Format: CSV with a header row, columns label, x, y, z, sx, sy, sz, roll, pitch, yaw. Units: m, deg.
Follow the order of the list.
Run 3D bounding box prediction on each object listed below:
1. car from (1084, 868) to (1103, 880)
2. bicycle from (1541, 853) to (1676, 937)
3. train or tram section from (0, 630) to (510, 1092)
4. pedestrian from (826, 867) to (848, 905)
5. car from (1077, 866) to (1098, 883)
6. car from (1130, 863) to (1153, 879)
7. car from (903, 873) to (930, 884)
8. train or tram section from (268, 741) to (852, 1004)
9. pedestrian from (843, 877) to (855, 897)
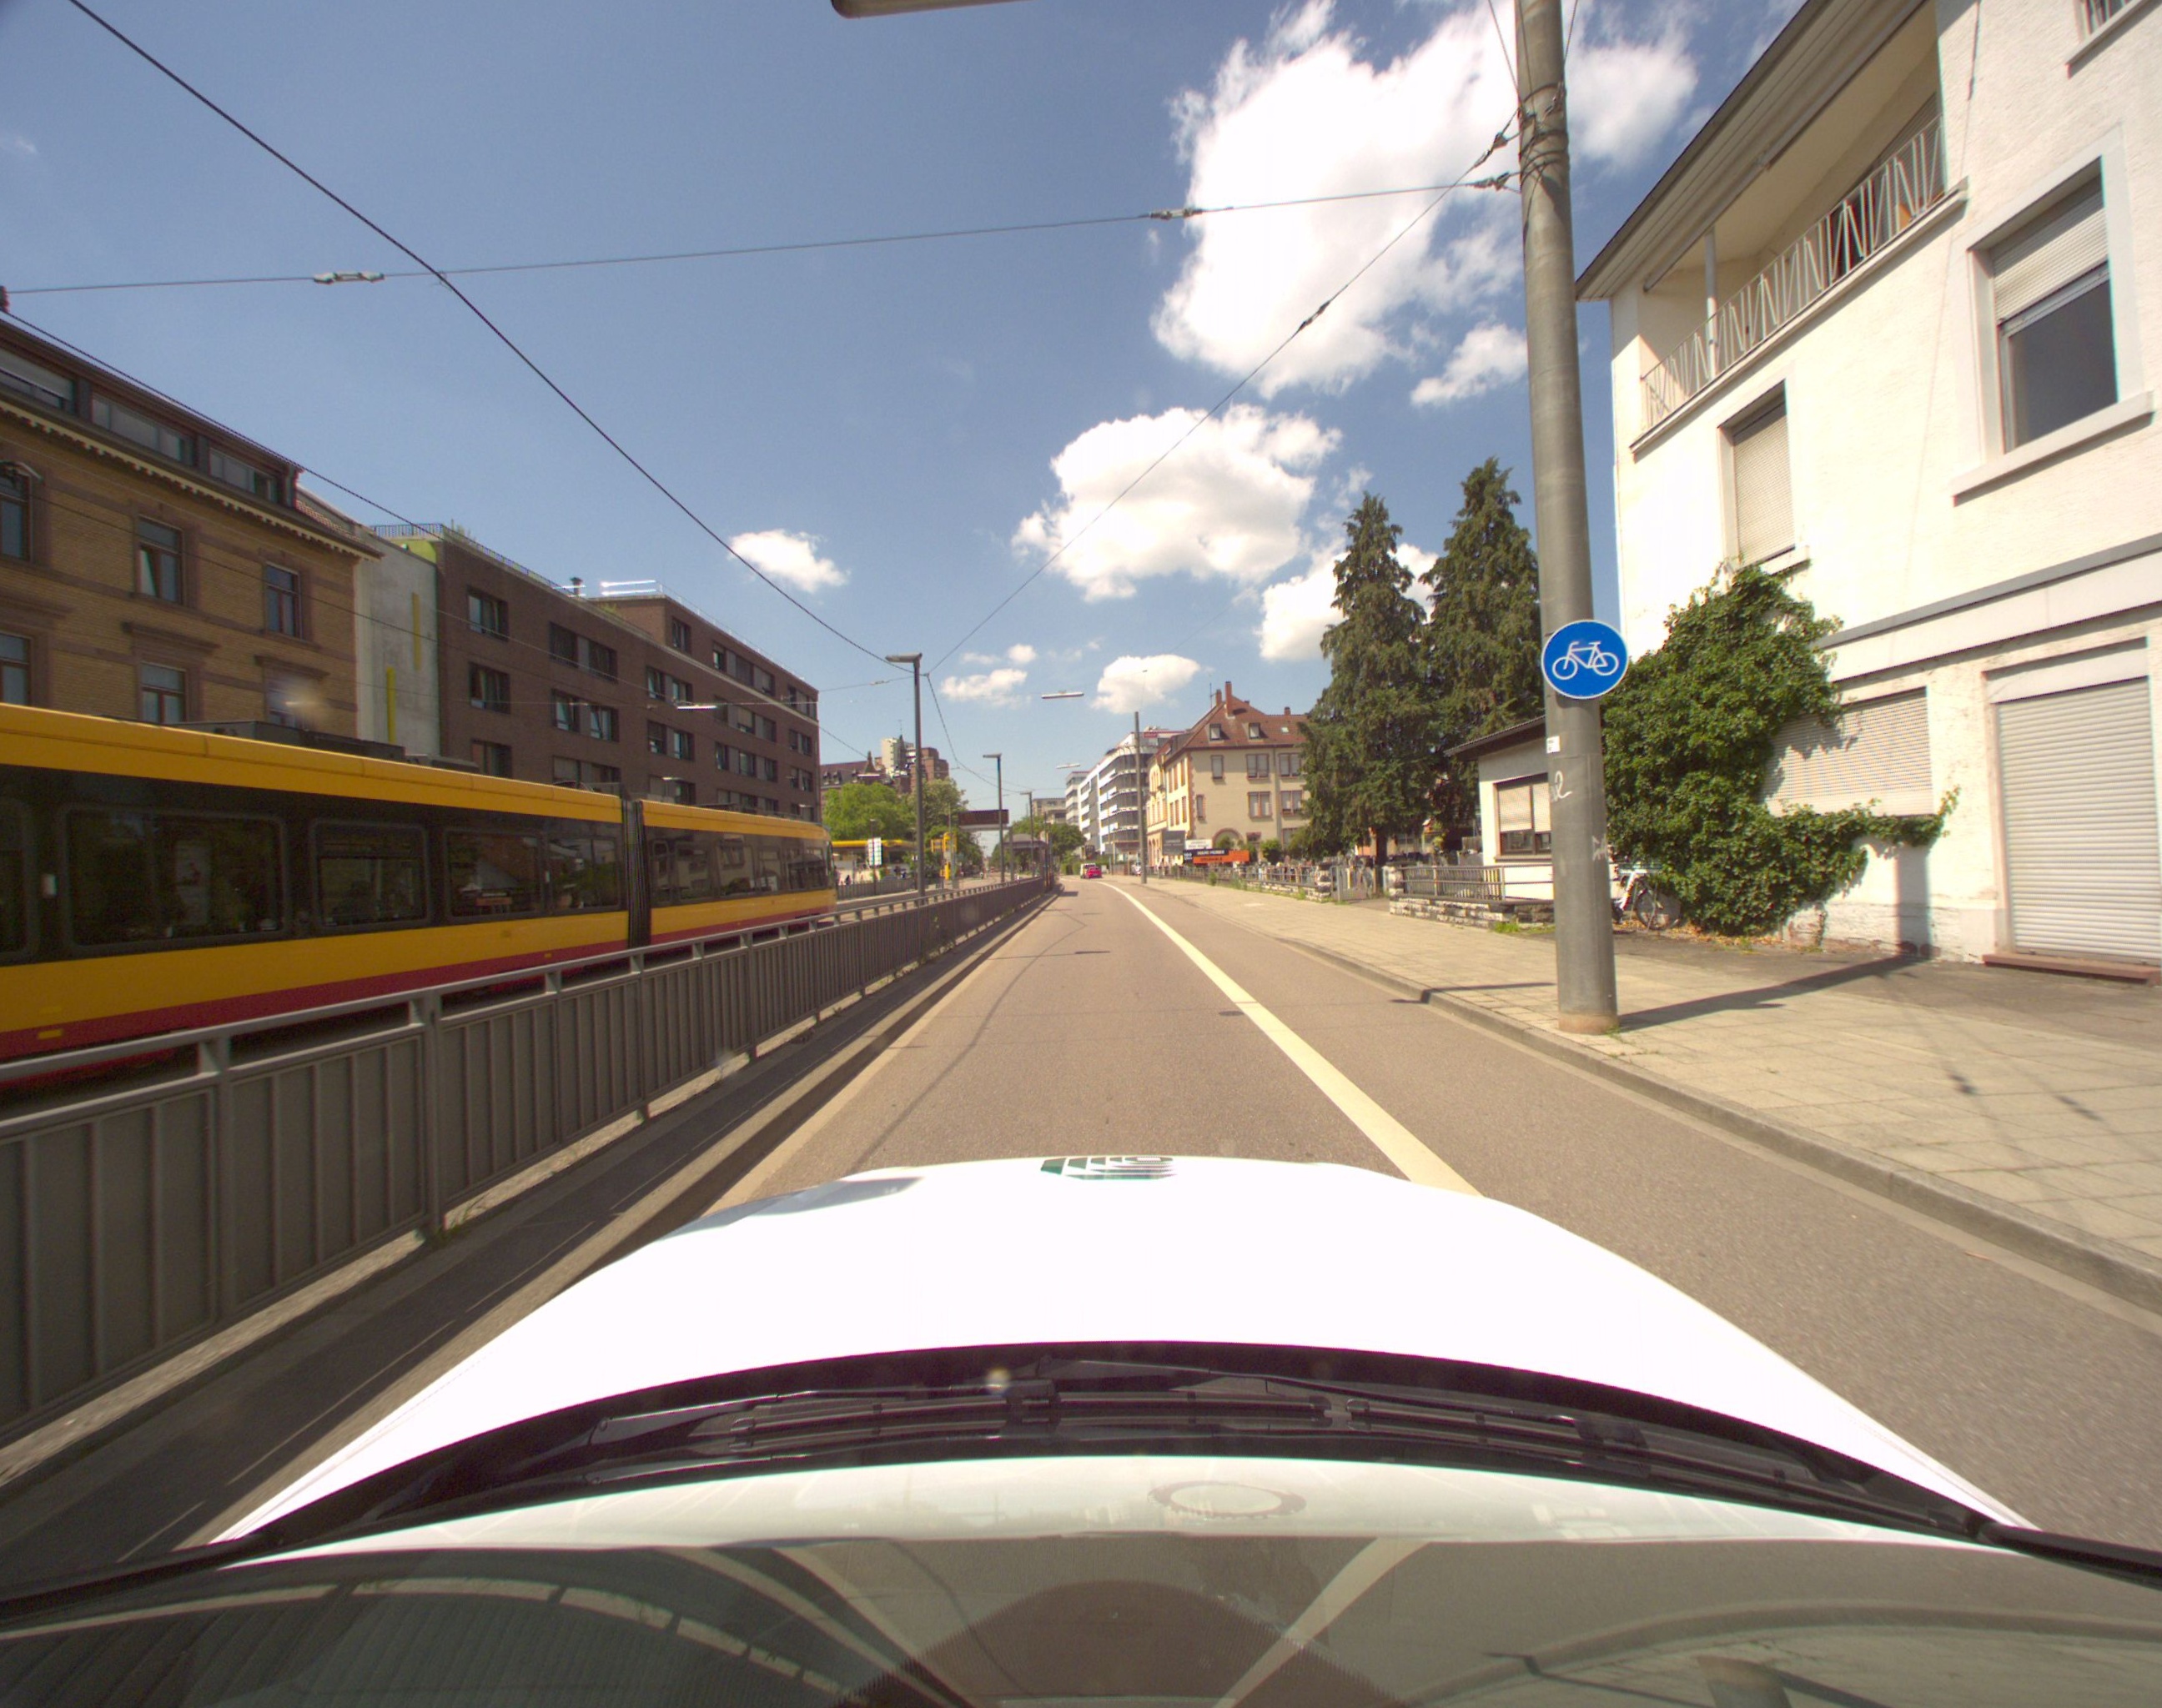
label,x,y,z,sx,sy,sz,roll,pitch,yaw
car,1.577,2.499,102.342,1.990,1.442,4.009,-2,-1,-5
bicycle,7.593,0.587,11.759,1.525,1.086,0.430,-5,-1,6
train or tram section,-10.048,0.005,1.407,3.239,3.567,20.502,-3,-1,1
pedestrian,-11.717,1.544,39.170,0.683,1.760,1.033,-3,-1,0
car,0.809,2.742,108.960,1.991,1.991,5.501,-4,-1,-6
car,6.873,1.922,92.858,1.874,1.624,4.632,-5,-1,-4
car,-28.519,4.224,141.101,1.974,1.590,4.361,-3,-1,37
train or tram section,-9.691,0.449,19.693,3.223,3.567,16.350,-3,-1,1
pedestrian,-19.090,2.711,67.017,0.758,1.596,0.998,1,-2,-4
